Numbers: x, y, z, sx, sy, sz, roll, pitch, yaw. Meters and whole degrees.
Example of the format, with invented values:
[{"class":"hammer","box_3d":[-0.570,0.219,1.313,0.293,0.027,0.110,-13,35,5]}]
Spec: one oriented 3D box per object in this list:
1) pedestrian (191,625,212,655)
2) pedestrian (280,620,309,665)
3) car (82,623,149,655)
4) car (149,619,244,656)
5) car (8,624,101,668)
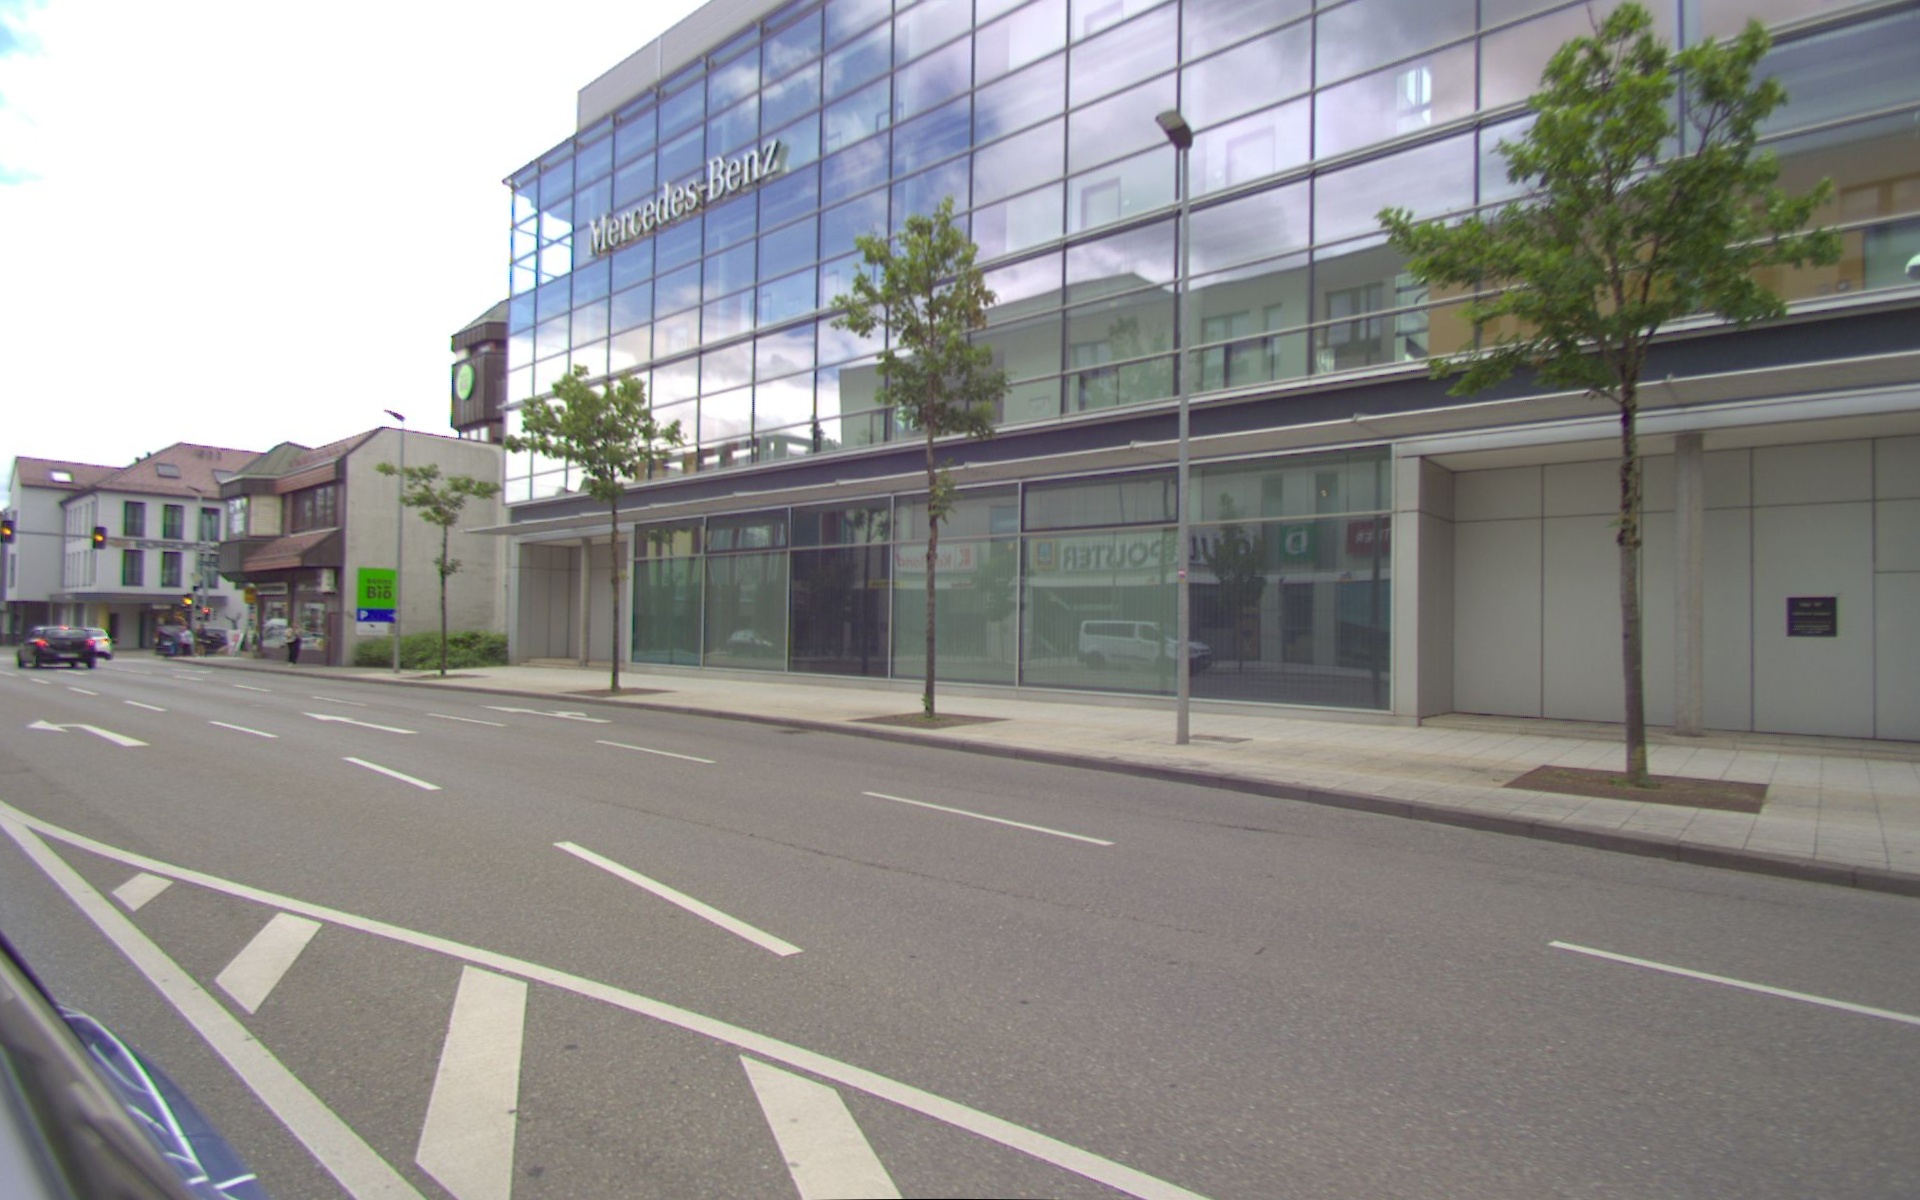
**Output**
[{"class":"pedestrian","box_3d":[-38.252,2.019,51.063,0.577,1.527,0.552,0,-3,9]},{"class":"pedestrian","box_3d":[-24.326,1.560,37.007,0.693,1.636,0.693,-2,-3,41]},{"class":"car","box_3d":[-40.798,1.896,48.877,3.999,1.478,1.912,-1,-3,42]},{"class":"car","box_3d":[-42.036,2.073,55.847,1.916,1.909,3.990,0,-2,8]},{"class":"car","box_3d":[-32.135,1.602,35.894,3.995,1.478,1.780,-1,-3,38]}]
